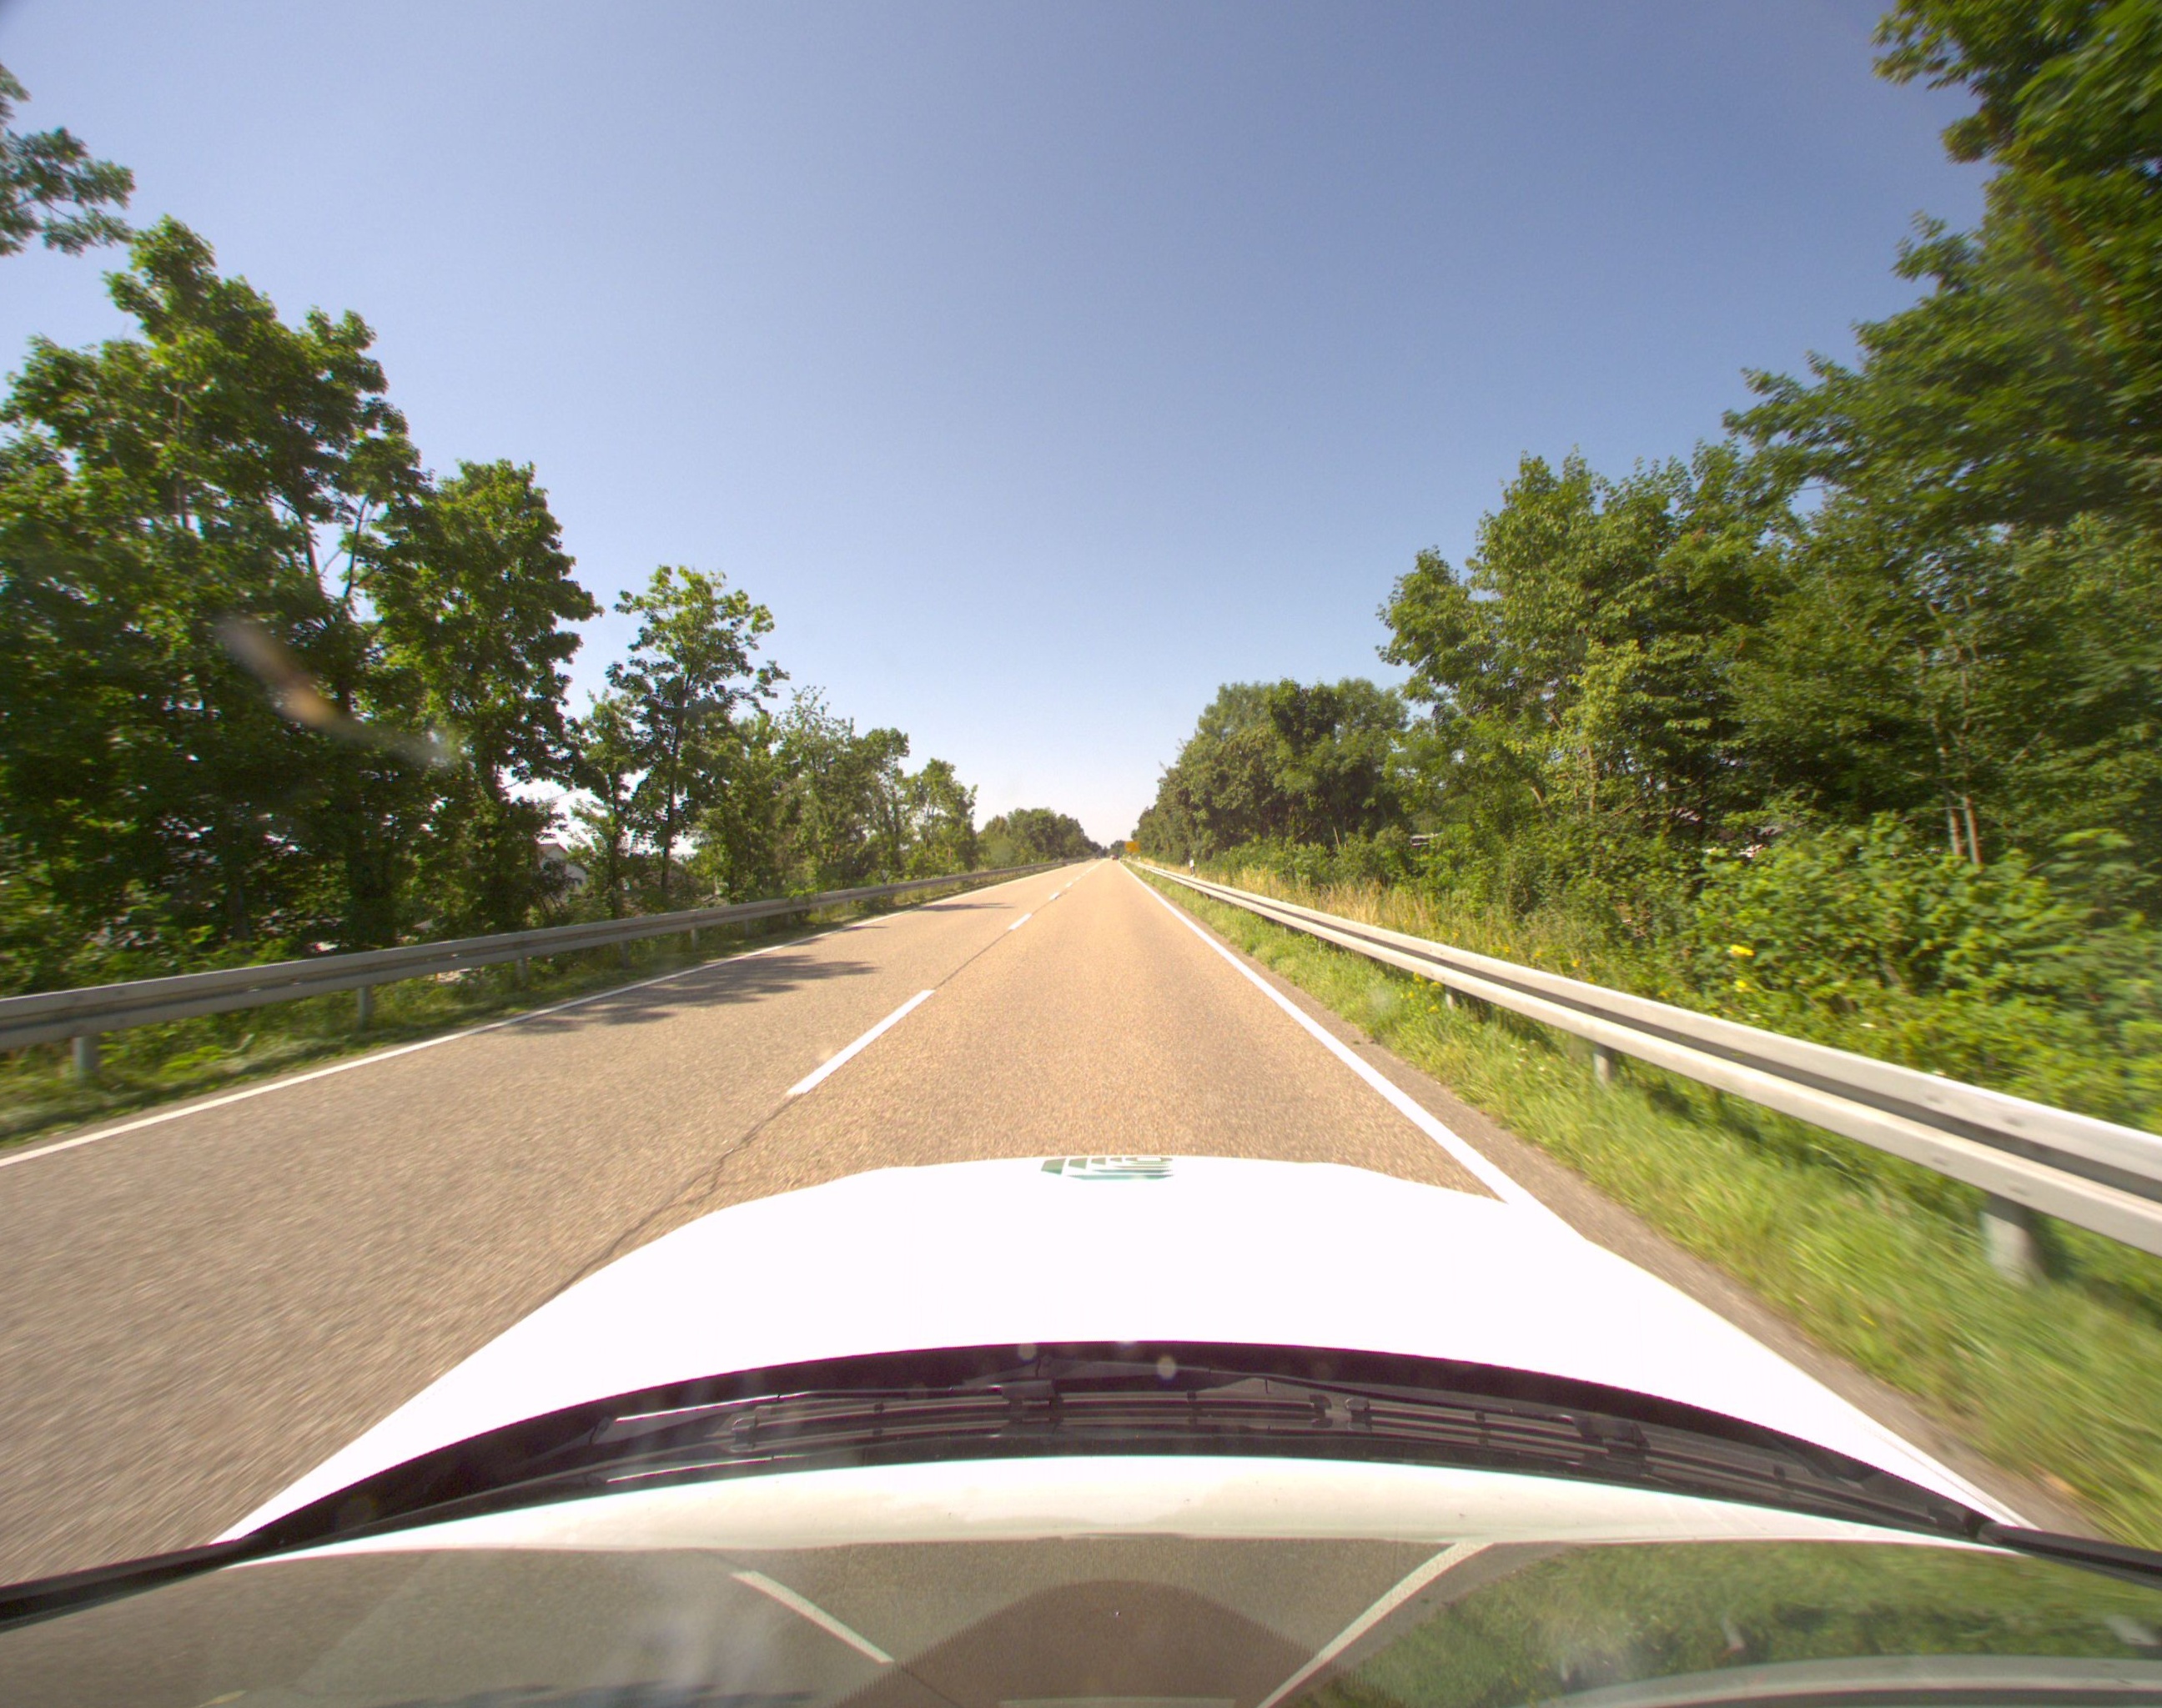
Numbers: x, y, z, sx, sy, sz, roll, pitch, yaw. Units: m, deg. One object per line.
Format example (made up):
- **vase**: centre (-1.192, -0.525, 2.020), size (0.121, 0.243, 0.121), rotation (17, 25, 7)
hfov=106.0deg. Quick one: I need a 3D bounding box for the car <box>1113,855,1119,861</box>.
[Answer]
- **car**: centre (9.440, 1.016, 219.495), size (1.734, 1.470, 3.695), rotation (-1, 0, 3)
